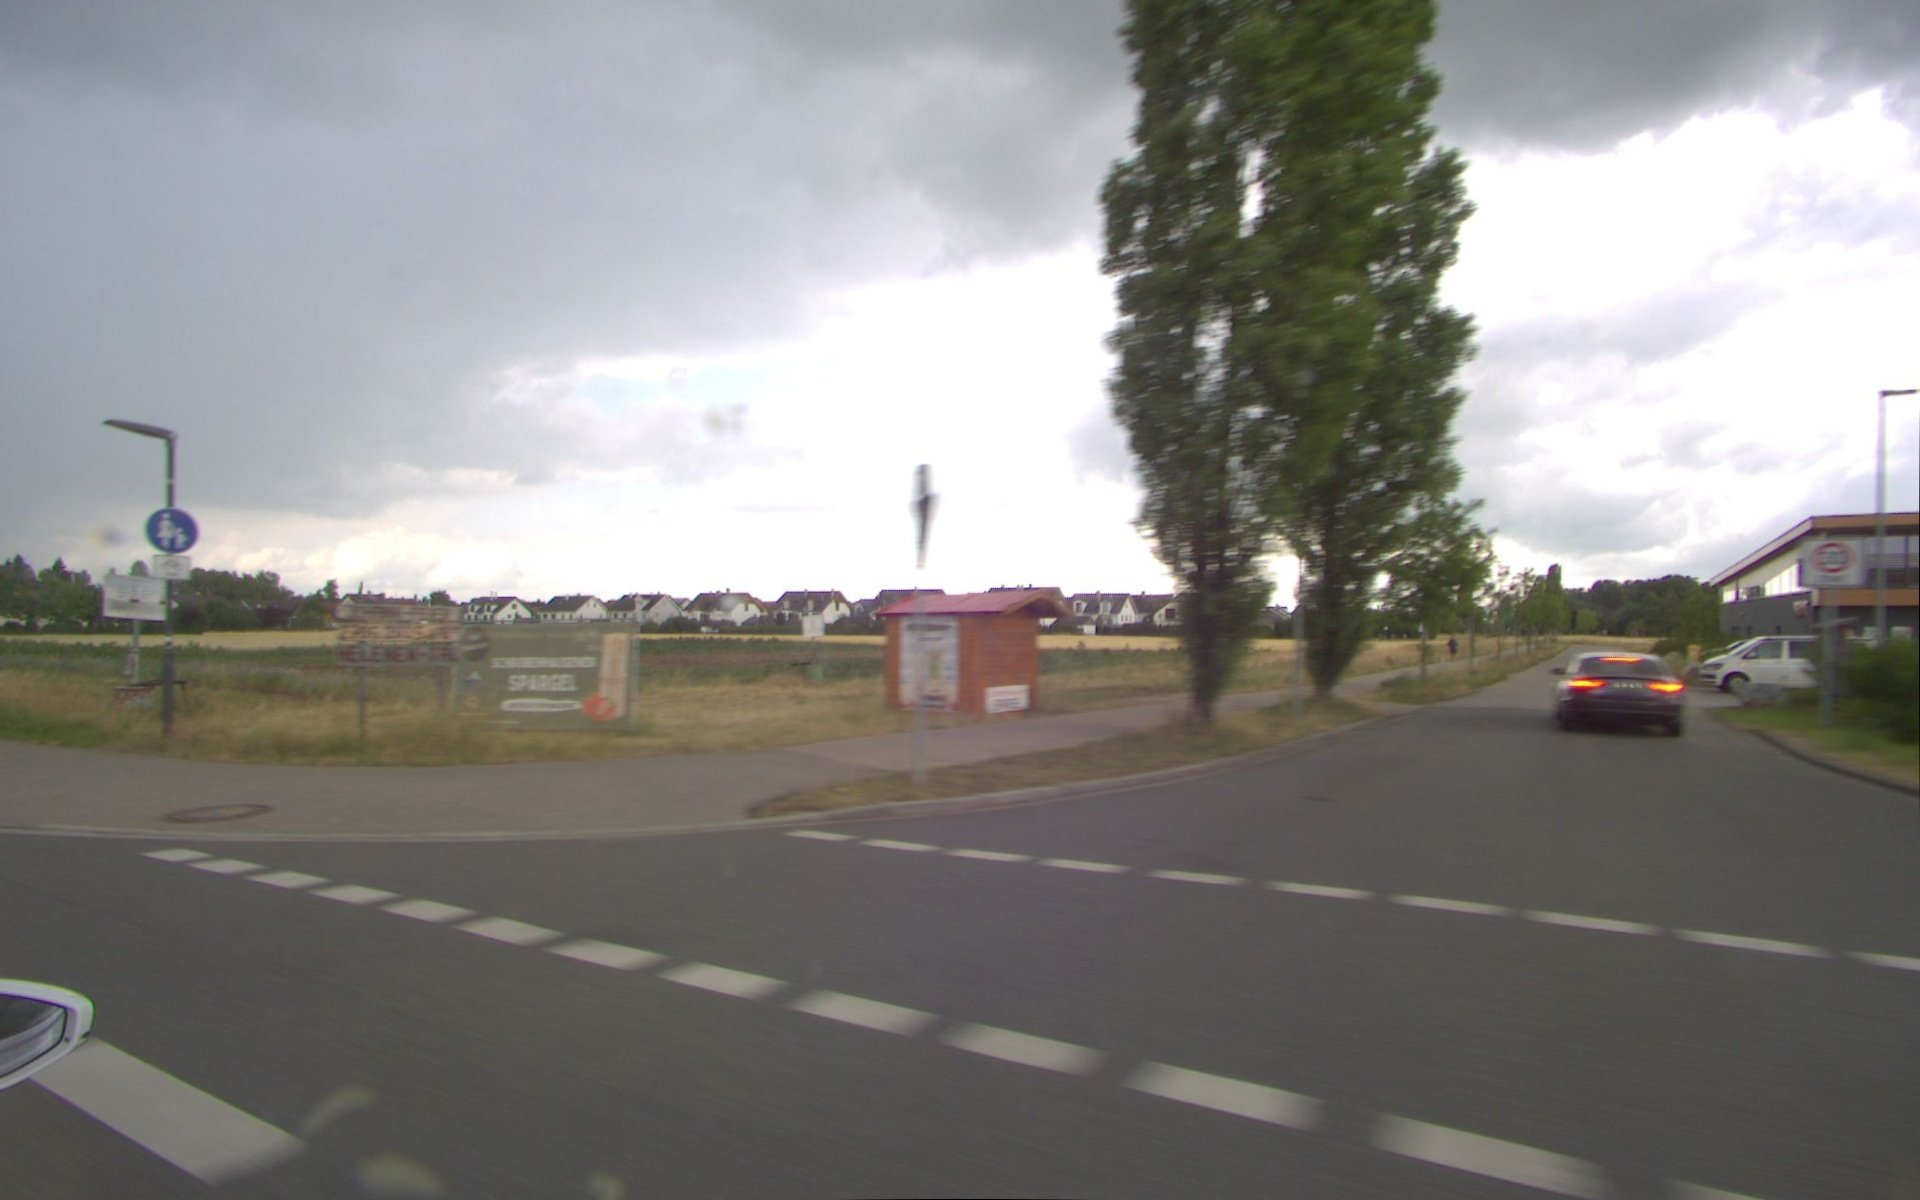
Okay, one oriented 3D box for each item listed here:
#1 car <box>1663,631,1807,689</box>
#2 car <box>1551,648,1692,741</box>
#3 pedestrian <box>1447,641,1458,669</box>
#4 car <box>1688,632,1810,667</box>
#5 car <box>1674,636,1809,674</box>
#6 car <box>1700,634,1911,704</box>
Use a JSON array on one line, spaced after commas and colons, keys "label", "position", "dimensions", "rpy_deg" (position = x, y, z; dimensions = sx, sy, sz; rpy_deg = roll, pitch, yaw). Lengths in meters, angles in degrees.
[{"label": "car", "position": [30.070, 2.274, 39.027], "dimensions": [4.225, 2.040, 1.989], "rpy_deg": [0, 0, 33]}, {"label": "car", "position": [11.974, 1.619, 18.377], "dimensions": [1.804, 1.406, 4.370], "rpy_deg": [0, -2, 29]}, {"label": "pedestrian", "position": [31.943, 3.551, 64.962], "dimensions": [0.590, 1.785, 0.481], "rpy_deg": [0, 1, 31]}, {"label": "car", "position": [35.716, 2.205, 45.461], "dimensions": [4.139, 1.429, 1.989], "rpy_deg": [0, 0, 32]}, {"label": "car", "position": [32.161, 2.224, 41.360], "dimensions": [4.195, 1.367, 1.828], "rpy_deg": [0, 0, 33]}, {"label": "car", "position": [28.185, 2.245, 33.676], "dimensions": [5.159, 2.040, 1.989], "rpy_deg": [0, 0, 33]}]
